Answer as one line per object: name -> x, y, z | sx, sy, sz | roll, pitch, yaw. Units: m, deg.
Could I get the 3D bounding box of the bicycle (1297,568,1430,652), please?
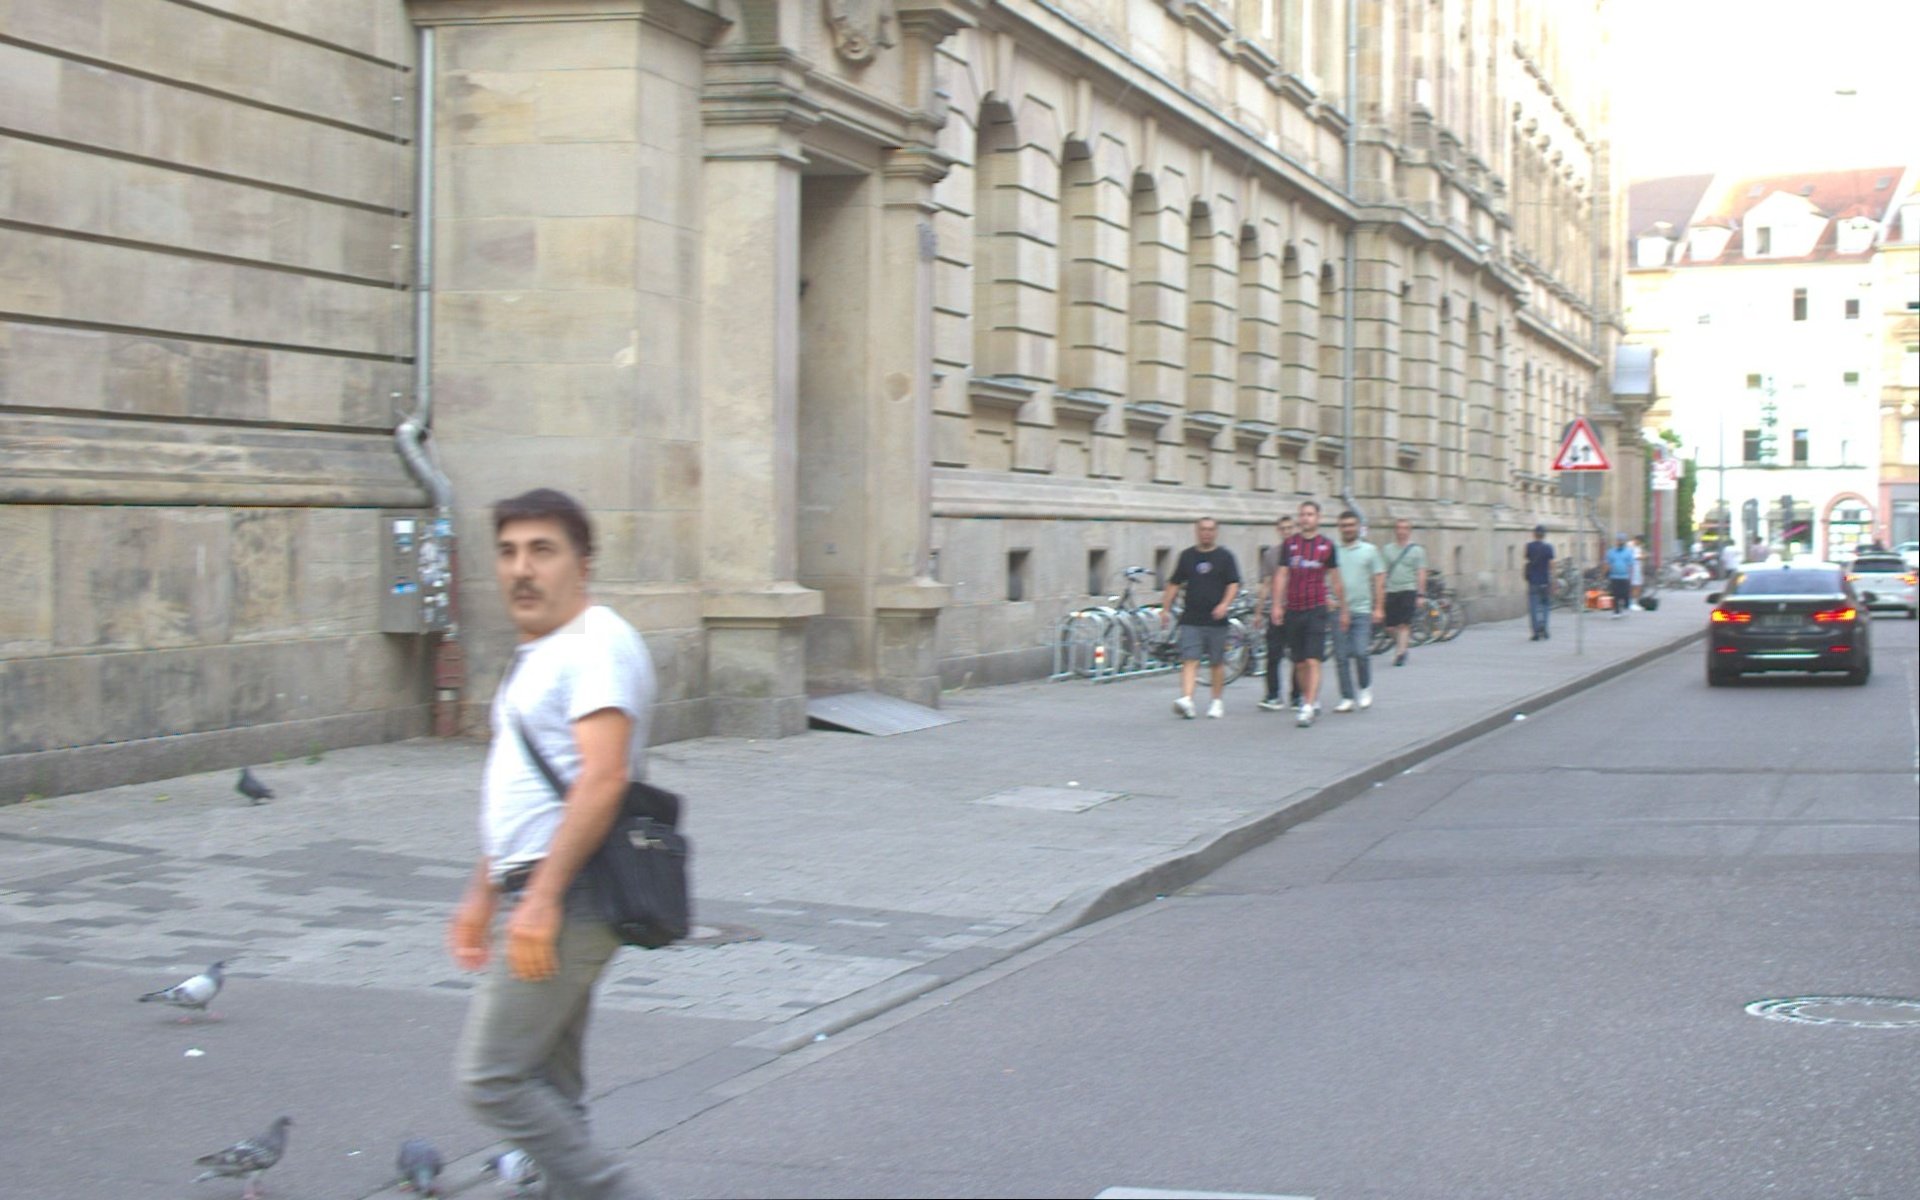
bicycle -> 5.423, 0.126, 46.222 | 1.680, 1.037, 0.487 | 3, 1, 14

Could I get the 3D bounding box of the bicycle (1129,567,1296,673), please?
bicycle -> 2.662, 0.205, 36.303 | 1.679, 1.037, 0.487 | 2, 1, -2

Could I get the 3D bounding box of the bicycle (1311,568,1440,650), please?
bicycle -> 5.735, 0.116, 47.418 | 1.680, 1.037, 0.487 | 3, 1, 14

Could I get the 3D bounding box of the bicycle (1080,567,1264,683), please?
bicycle -> 2.069, 0.235, 33.527 | 1.681, 1.037, 0.487 | 3, 1, 21

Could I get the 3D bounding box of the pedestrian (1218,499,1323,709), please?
pedestrian -> 2.683, 0.028, 29.660 | 0.689, 1.746, 0.721 | 4, 2, 13

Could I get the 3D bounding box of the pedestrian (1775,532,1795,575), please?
pedestrian -> 34.597, -1.940, 144.142 | 0.666, 1.746, 0.681 | 4, 2, 12

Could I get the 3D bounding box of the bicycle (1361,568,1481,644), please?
bicycle -> 6.814, 0.091, 50.790 | 1.680, 1.037, 0.487 | 3, 1, 14

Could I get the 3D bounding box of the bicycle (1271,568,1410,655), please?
bicycle -> 4.891, 0.143, 44.188 | 1.680, 1.037, 0.487 | 3, 1, 14

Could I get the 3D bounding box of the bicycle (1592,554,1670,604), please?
bicycle -> 15.671, -0.494, 80.307 | 1.681, 1.037, 0.487 | 4, 2, 16

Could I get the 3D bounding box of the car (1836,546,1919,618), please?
car -> 20.575, -0.425, 77.048 | 1.795, 1.505, 3.998 | 1, 1, 14

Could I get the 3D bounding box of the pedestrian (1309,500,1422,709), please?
pedestrian -> 3.536, 0.034, 29.915 | 0.787, 1.746, 0.721 | 4, 2, 13

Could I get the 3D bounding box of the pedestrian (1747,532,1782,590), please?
pedestrian -> 25.277, -1.235, 108.027 | 0.934, 1.746, 0.810 | 4, 2, 12

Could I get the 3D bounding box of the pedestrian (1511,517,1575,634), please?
pedestrian -> 9.036, -0.388, 53.281 | 0.804, 1.746, 0.810 | 4, 2, 13

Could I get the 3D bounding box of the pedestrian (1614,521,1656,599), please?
pedestrian -> 15.639, -0.931, 79.646 | 0.808, 1.746, 0.936 | 4, 2, 14

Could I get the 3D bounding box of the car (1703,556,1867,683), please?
car -> 9.658, 0.197, 40.157 | 1.771, 1.404, 4.050 | 0, 1, 14

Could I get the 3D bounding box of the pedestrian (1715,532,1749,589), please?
pedestrian -> 24.246, -1.245, 107.987 | 0.934, 1.746, 0.810 | 4, 2, 12

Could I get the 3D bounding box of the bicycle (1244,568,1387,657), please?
bicycle -> 4.447, 0.151, 42.994 | 1.680, 1.037, 0.487 | 3, 1, 14

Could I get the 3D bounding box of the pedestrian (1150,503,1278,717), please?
pedestrian -> 2.089, 0.068, 28.186 | 0.798, 1.669, 0.974 | 4, 2, 13

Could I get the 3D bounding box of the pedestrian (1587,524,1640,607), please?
pedestrian -> 13.395, -0.708, 70.486 | 0.934, 1.631, 0.654 | 4, 2, 13

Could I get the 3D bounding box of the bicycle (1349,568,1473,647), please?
bicycle -> 6.440, 0.106, 49.078 | 1.680, 1.037, 0.487 | 3, 1, 14

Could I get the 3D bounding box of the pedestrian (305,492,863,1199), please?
pedestrian -> -0.754, 0.623, 6.814 | 0.869, 1.641, 0.732 | 0, 0, -30

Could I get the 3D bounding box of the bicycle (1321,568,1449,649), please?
bicycle -> 5.910, 0.114, 47.842 | 1.680, 1.037, 0.487 | 3, 1, 14

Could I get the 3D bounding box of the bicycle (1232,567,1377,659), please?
bicycle -> 4.225, 0.157, 42.192 | 1.680, 1.037, 0.487 | 3, 1, 14

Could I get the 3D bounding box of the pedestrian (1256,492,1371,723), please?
pedestrian -> 2.890, 0.051, 28.007 | 0.698, 1.806, 0.974 | 4, 2, 13

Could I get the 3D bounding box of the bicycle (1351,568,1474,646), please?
bicycle -> 6.519, 0.102, 49.537 | 1.680, 1.037, 0.487 | 3, 1, 14

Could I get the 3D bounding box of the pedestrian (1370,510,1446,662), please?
pedestrian -> 5.354, -0.173, 41.100 | 0.719, 1.746, 0.668 | 4, 2, 13
